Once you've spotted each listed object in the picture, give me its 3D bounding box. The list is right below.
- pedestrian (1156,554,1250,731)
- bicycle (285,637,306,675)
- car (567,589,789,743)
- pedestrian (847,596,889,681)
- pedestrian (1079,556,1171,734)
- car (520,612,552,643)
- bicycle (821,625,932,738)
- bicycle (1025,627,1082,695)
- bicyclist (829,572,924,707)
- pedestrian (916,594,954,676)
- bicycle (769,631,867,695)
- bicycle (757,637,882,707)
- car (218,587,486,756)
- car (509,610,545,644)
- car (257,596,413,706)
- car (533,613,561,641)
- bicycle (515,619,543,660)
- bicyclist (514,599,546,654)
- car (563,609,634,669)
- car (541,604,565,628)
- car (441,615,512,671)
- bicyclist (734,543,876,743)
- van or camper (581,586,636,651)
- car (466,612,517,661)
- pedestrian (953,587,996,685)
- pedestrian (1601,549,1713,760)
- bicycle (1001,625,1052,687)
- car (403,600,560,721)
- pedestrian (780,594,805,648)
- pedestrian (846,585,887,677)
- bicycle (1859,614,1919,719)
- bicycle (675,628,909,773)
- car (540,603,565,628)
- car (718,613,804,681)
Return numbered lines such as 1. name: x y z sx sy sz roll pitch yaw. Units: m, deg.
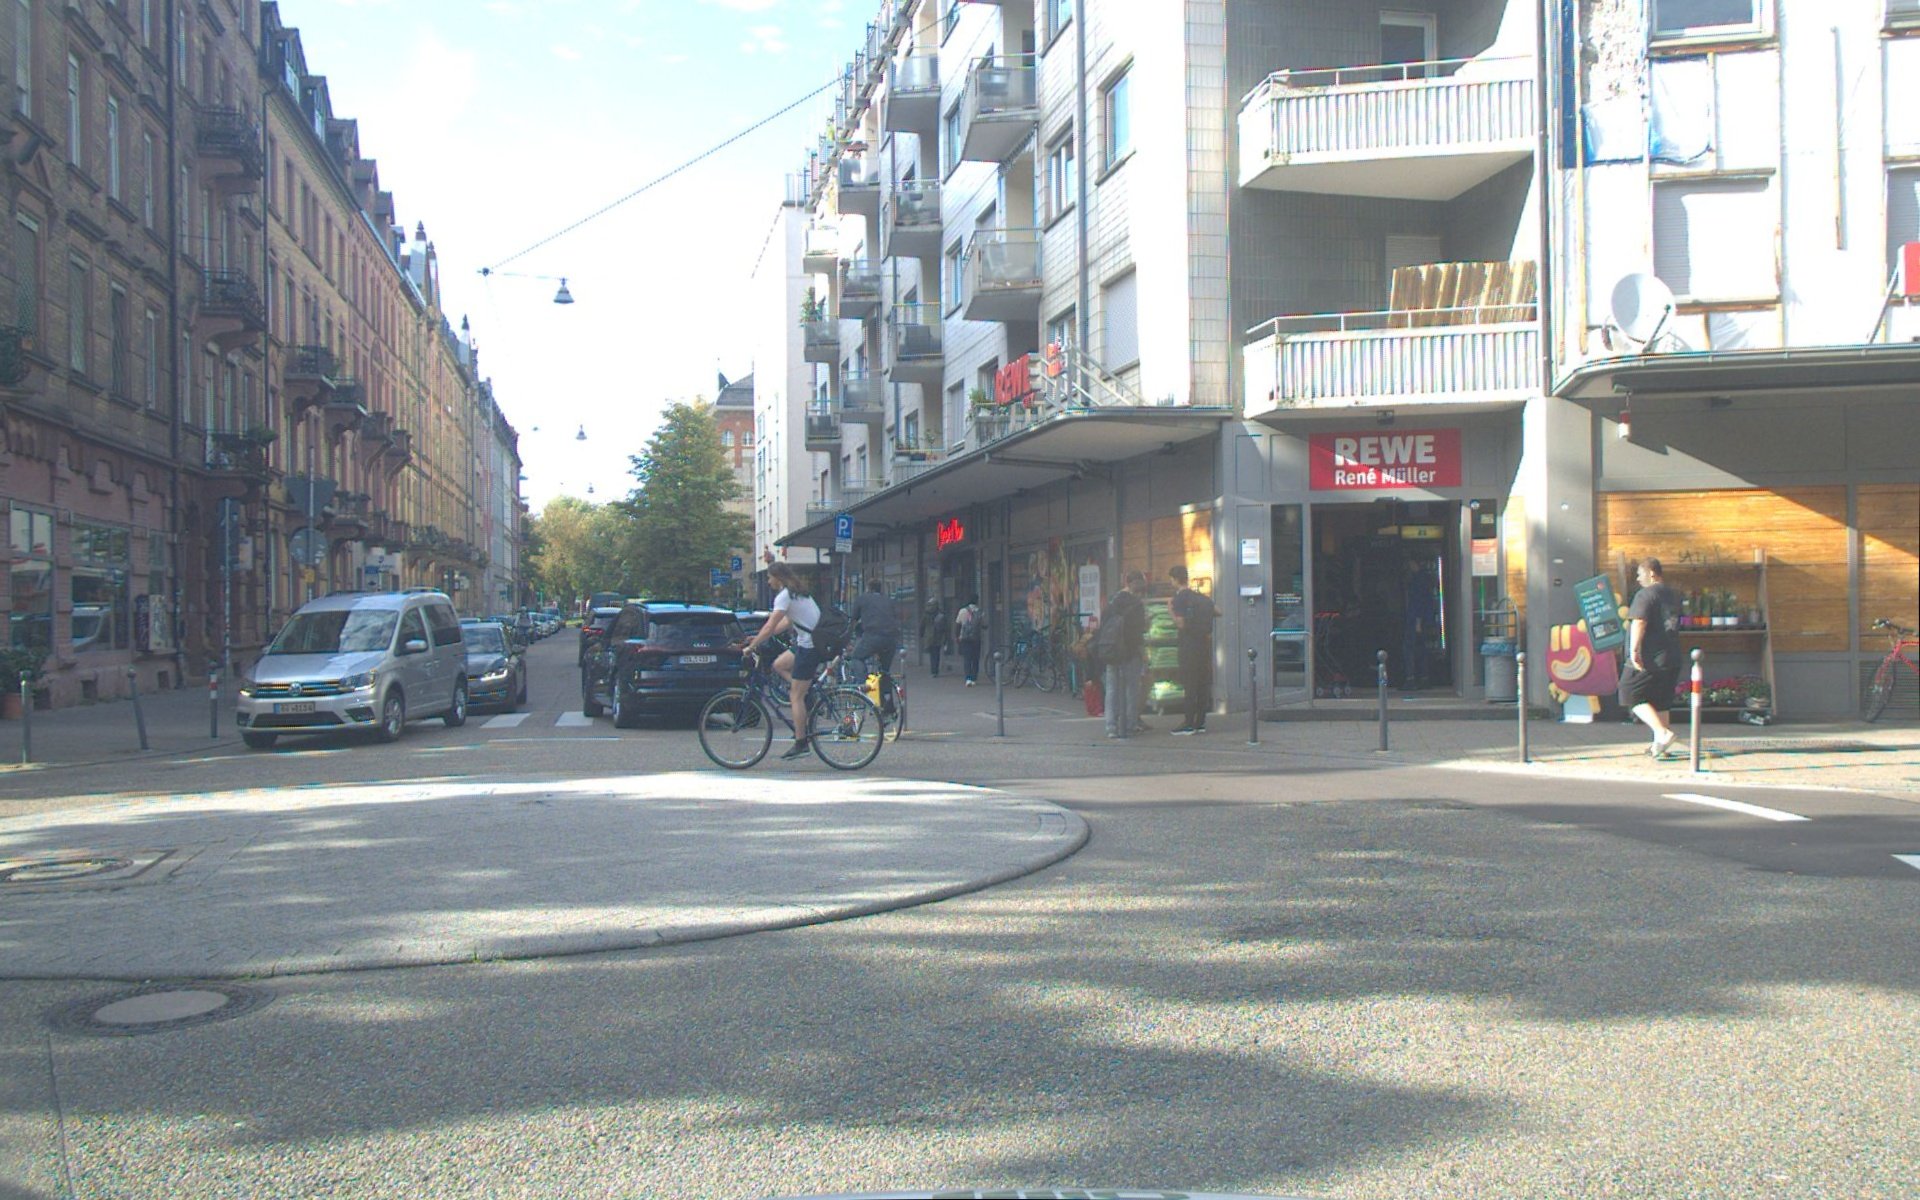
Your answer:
1. pedestrian: 2.644 0.458 18.040 0.852 1.883 0.611 -1 0 -7
2. bicycle: -17.640 1.475 43.924 0.354 0.963 1.708 0 -1 -16
3. car: -3.986 0.783 22.649 2.008 1.754 4.814 -3 1 -22
4. pedestrian: -1.794 0.745 32.453 0.715 1.639 0.790 -1 0 3
5. pedestrian: 1.789 0.477 17.961 0.852 1.883 0.611 -1 0 -7
6. car: -29.126 1.851 113.796 1.959 2.049 3.987 -1 0 -13
7. bicycle: -0.999 0.893 19.072 0.655 1.199 2.484 1 -1 -18
8. bicycle: 1.476 0.946 26.255 0.357 1.034 1.423 -1 0 -20
9. bicyclist: -0.967 0.447 19.023 0.919 1.510 0.743 1 -1 -19
10. pedestrian: -0.512 0.711 33.966 0.730 1.657 0.812 -1 0 -1
11. bicycle: -2.506 1.106 29.349 0.668 1.045 1.781 -1 0 40
12. bicycle: -2.273 1.157 26.734 1.964 1.063 0.531 -1 0 -10
13. car: -7.481 0.800 20.875 1.757 1.822 4.733 -2 0 -2
14. car: -26.586 1.647 101.656 1.959 2.049 3.987 -1 0 -13
15. car: -11.187 0.858 29.892 1.750 1.754 4.435 1 1 -9
16. car: -32.076 2.077 128.393 1.959 2.049 3.987 -1 0 -13
17. bicycle: -16.546 1.495 63.456 0.910 1.515 3.448 2 -1 -16
18. bicyclist: -16.494 1.019 63.462 1.114 2.033 1.023 2 -1 -17
19. car: -10.602 1.123 48.725 1.777 1.513 4.154 -2 1 -9
20. car: -36.183 1.401 147.041 1.959 2.049 3.987 -1 0 -13
21. car: -17.658 1.538 60.553 1.892 1.754 4.278 -2 1 -9
22. bicyclist: -1.358 0.374 14.636 0.991 1.697 0.944 -1 0 12
23. van or camper: -17.410 0.918 81.805 2.489 3.090 4.442 -1 0 -14
24. car: -20.826 1.595 73.610 1.959 2.049 3.986 -1 0 -13
25. pedestrian: 0.258 0.646 29.883 0.725 1.742 0.733 -1 0 -1
26. pedestrian: 6.025 0.462 14.325 0.616 1.769 0.775 -1 0 0
27. bicycle: 1.143 0.949 28.590 0.354 1.016 1.708 -1 0 -16
28. car: -7.854 0.924 27.567 1.892 1.754 4.725 -2 0 -9
29. pedestrian: -6.510 0.819 64.386 0.884 2.049 0.733 -1 0 -12
30. pedestrian: -1.970 0.640 34.906 0.715 1.897 1.063 -1 0 3
31. bicycle: 10.210 0.680 17.029 1.647 1.069 0.457 -1 0 28
32. bicycle: -1.479 0.879 14.652 1.927 1.220 0.713 -1 0 12
33. car: -35.041 1.332 142.201 1.959 2.049 3.987 -1 0 -13
34. car: -4.489 1.014 36.946 1.616 1.347 3.567 -3 0 -11
